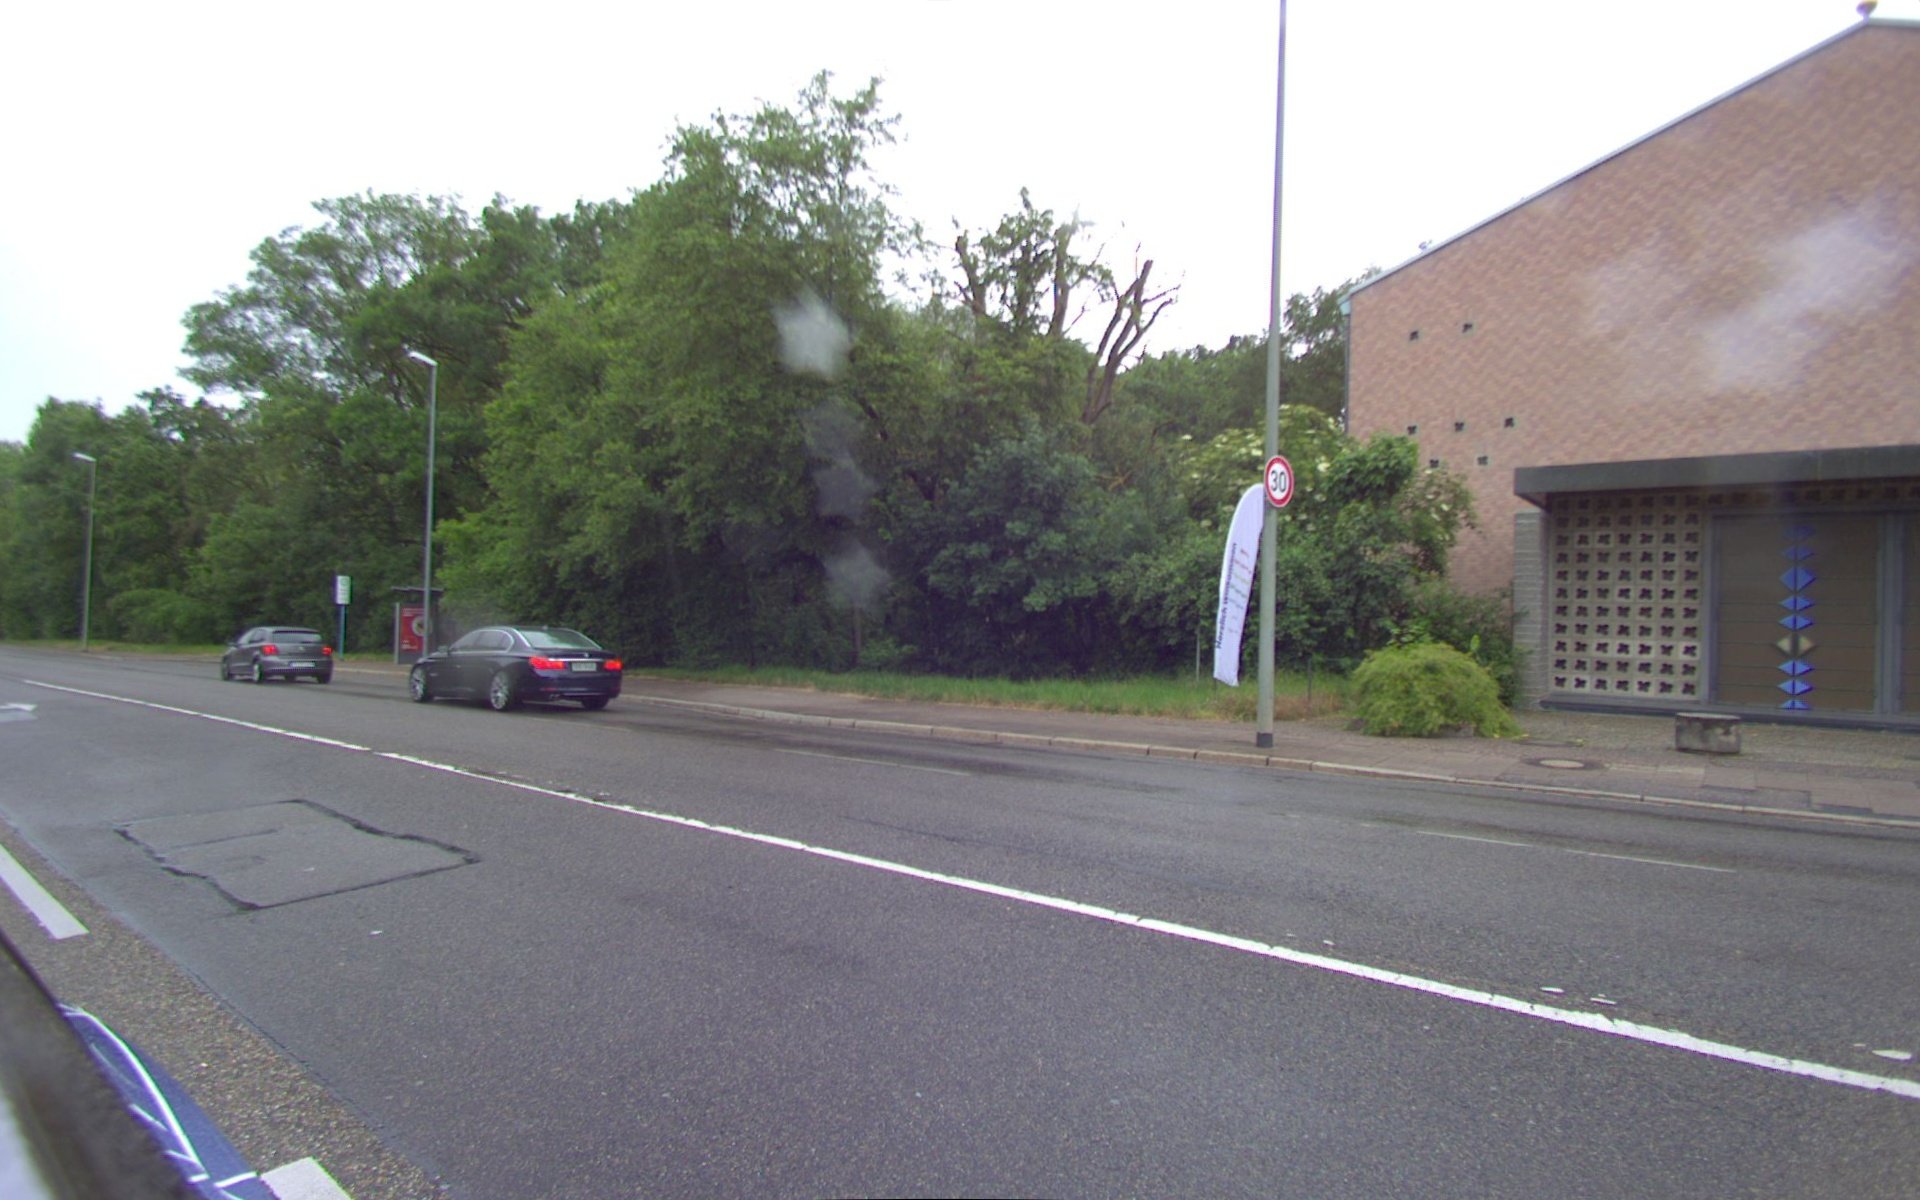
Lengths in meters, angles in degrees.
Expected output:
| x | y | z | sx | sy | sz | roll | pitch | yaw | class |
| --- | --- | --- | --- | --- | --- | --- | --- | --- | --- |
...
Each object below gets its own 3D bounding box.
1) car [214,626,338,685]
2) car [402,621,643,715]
| x | y | z | sx | sy | sz | roll | pitch | yaw | class |
| --- | --- | --- | --- | --- | --- | --- | --- | --- | --- |
| -17.895 | 1.409 | 26.418 | 3.901 | 1.440 | 1.578 | -1 | -3 | 39 | car |
| -8.012 | 1.185 | 18.323 | 4.944 | 1.465 | 1.891 | -1 | -5 | 40 | car |
